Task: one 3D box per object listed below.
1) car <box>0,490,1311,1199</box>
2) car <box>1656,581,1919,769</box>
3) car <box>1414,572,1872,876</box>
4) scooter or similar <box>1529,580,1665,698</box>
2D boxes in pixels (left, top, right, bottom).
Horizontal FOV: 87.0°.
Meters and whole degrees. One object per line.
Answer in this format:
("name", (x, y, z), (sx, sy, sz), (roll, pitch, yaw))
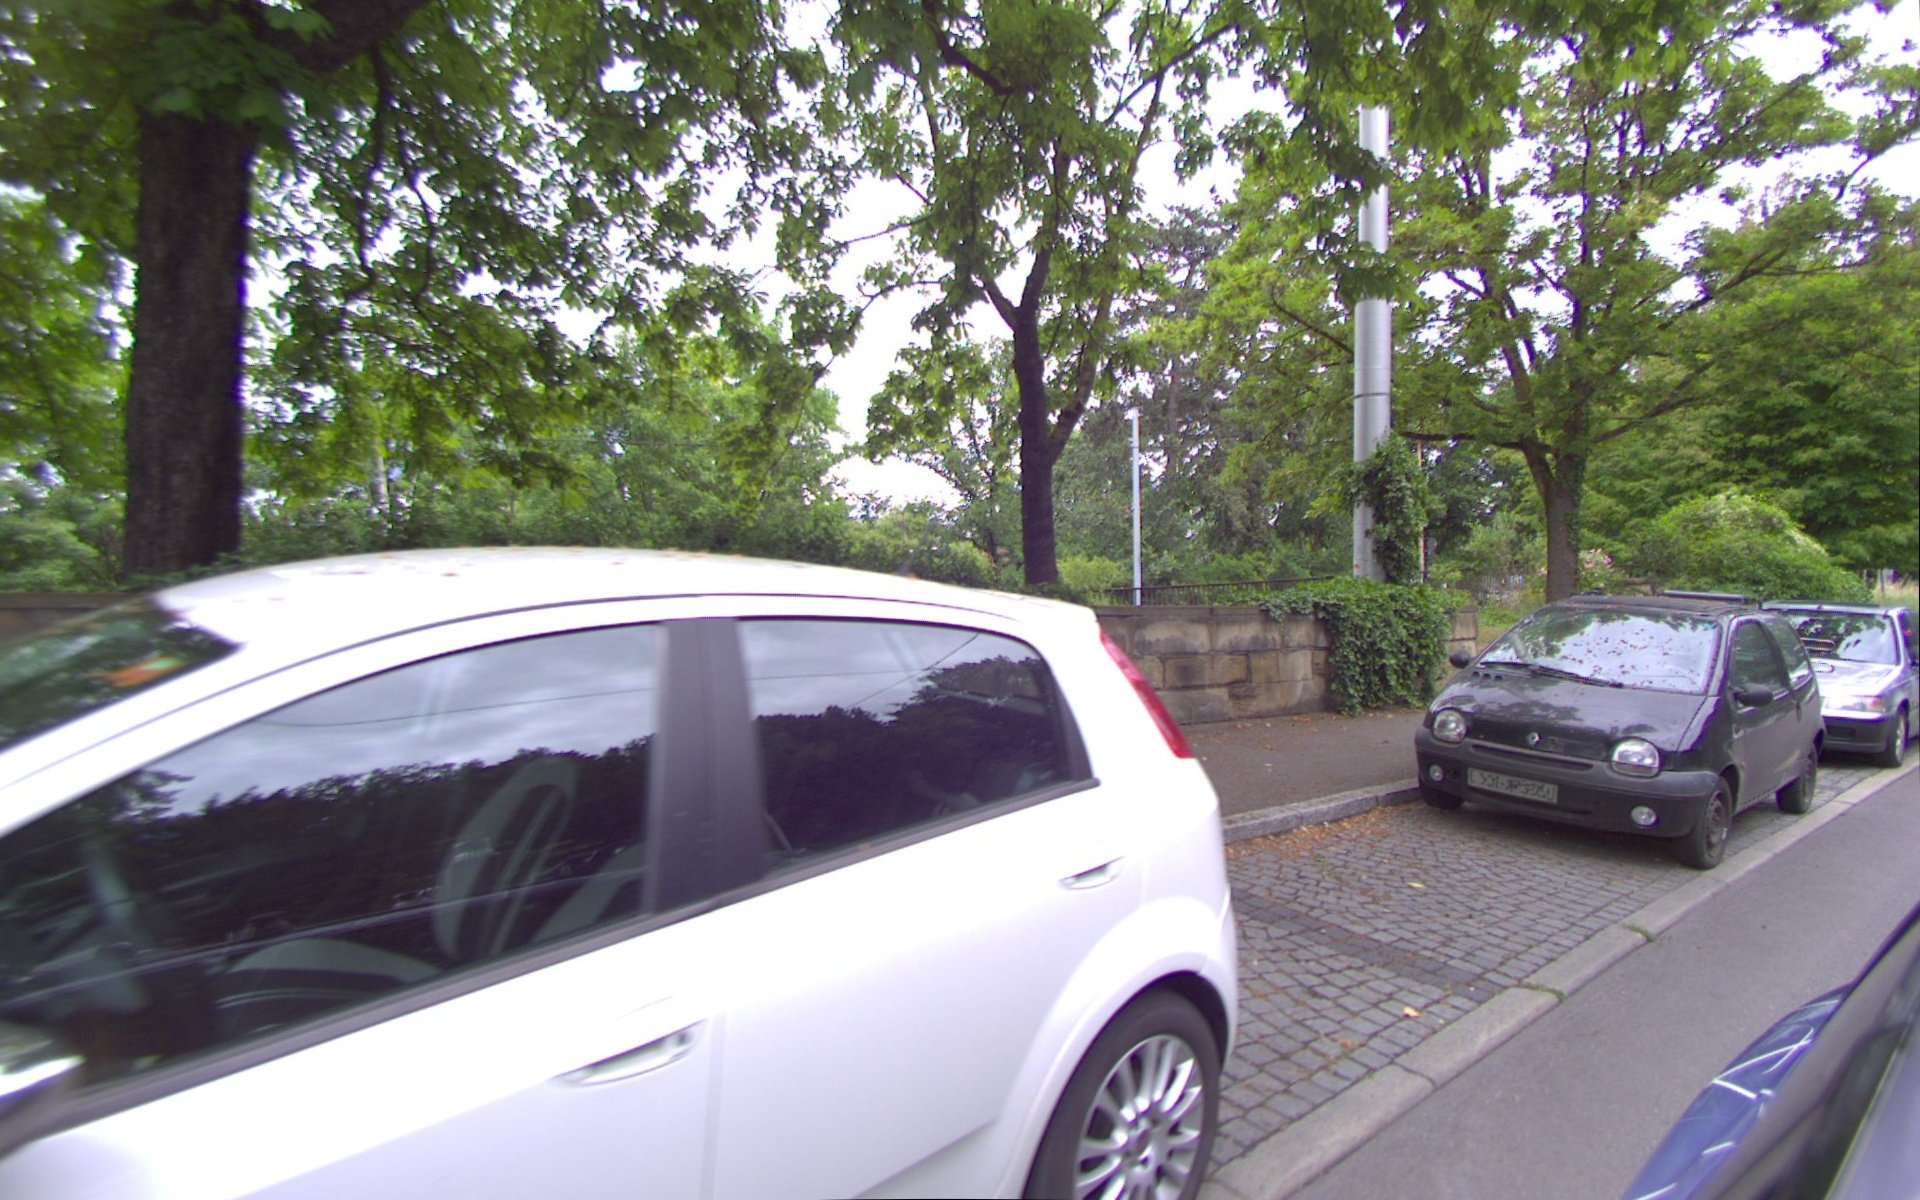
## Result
("car", (-1.297, 0.591, 1.625), (3.968, 1.489, 1.719), (0, 5, -42))
("car", (8.840, 0.562, 10.123), (4.468, 1.415, 1.775), (-1, 3, -38))
("car", (4.642, 0.584, 6.732), (3.363, 1.439, 1.566), (-1, 5, -40))
("scooter or similar", (7.602, 0.419, 12.045), (1.962, 1.258, 0.563), (-1, 7, -36))
